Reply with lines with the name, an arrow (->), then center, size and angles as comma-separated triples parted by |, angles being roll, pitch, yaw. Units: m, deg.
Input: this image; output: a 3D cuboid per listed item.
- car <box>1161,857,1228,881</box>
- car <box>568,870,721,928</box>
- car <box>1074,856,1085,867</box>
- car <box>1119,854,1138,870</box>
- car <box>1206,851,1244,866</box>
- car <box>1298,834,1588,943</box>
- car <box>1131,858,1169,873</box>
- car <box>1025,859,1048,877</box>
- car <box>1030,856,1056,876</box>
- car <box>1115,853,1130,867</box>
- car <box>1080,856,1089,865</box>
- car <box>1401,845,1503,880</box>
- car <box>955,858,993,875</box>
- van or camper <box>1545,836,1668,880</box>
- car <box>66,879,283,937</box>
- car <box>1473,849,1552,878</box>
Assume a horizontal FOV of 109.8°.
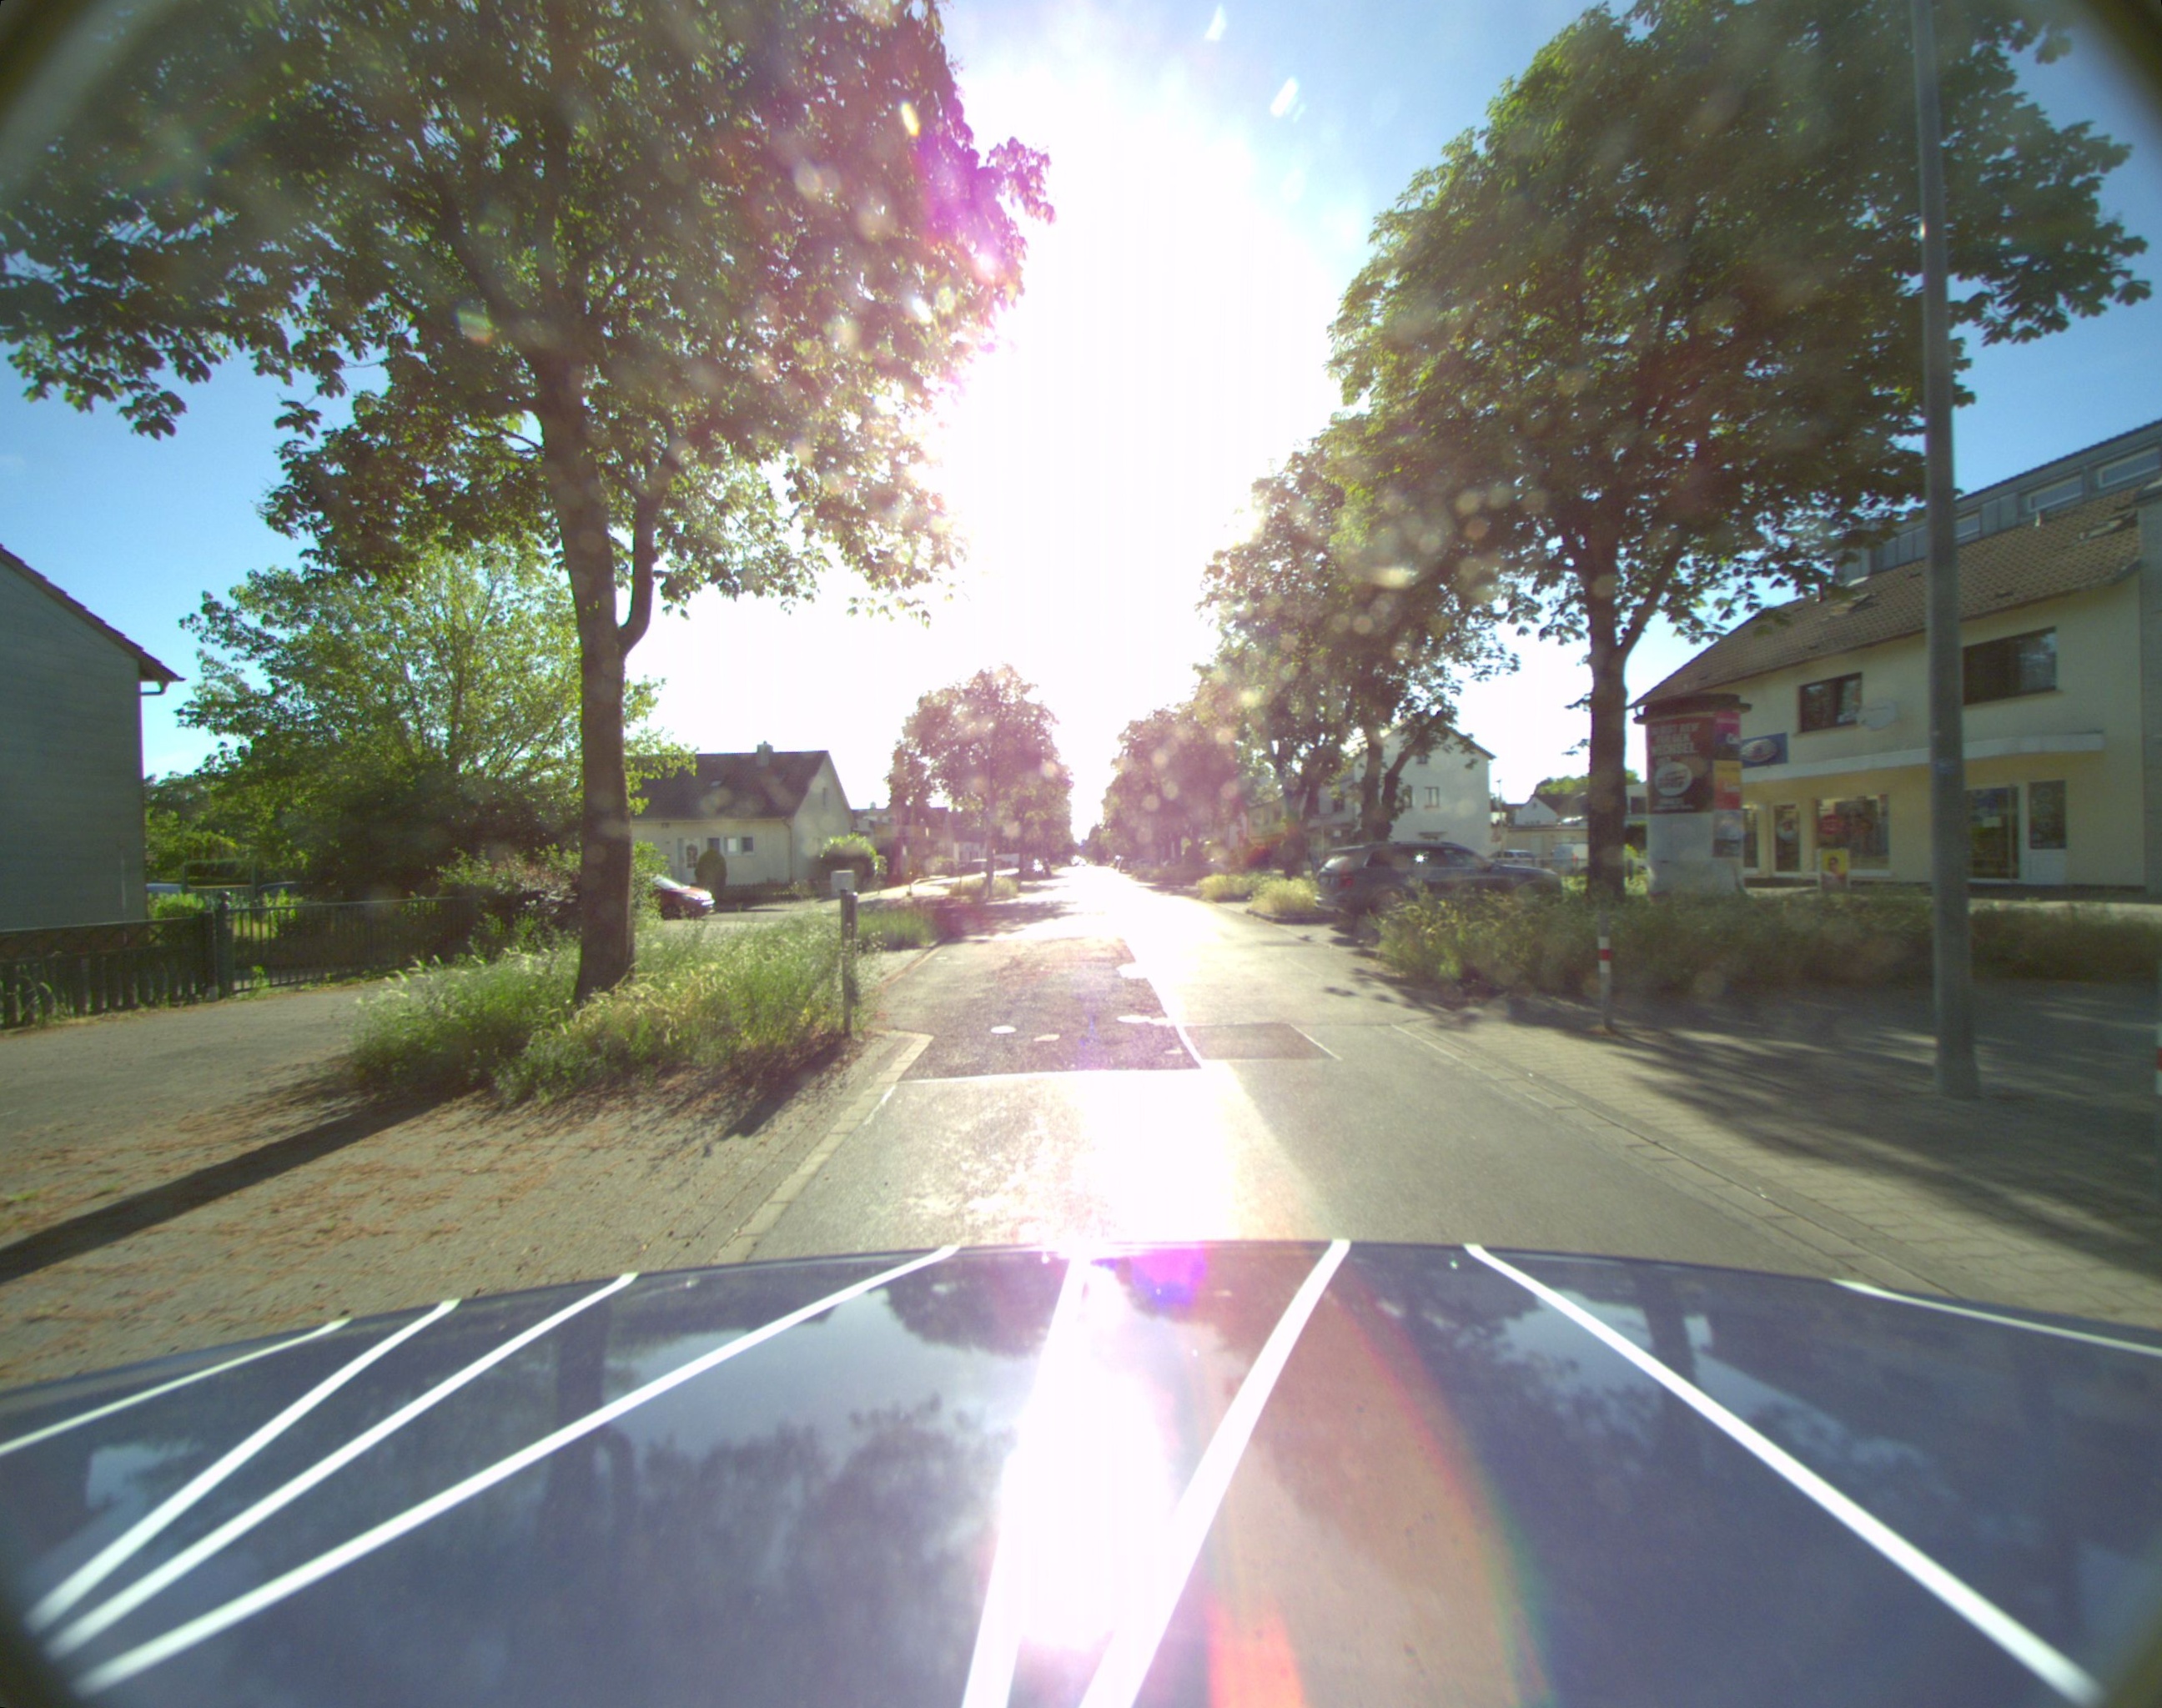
car -> 7.981, 1.044, 53.742 | 4.393, 1.408, 2.000 | -3, 1, -1
car -> -12.901, 1.306, 22.638 | 3.550, 1.501, 1.640 | -2, -1, -4
car -> -0.214, 1.145, 123.379 | 1.539, 1.582, 3.458 | -5, 1, 2
car -> 5.356, 0.904, 85.865 | 1.998, 1.530, 3.695 | -5, 1, 2
car -> 15.305, 0.468, 80.965 | 3.773, 1.556, 1.691 | 0, 1, 3
car -> 7.459, 0.671, 15.976 | 5.075, 1.718, 1.999 | -5, 1, -4
car -> 7.367, 1.185, 80.947 | 3.695, 1.315, 1.624 | -4, 1, -6
car -> -3.697, 1.164, 63.587 | 1.690, 1.414, 3.777 | 0, 1, 1
car -> -3.483, 1.095, 69.911 | 1.941, 1.684, 4.363 | -2, 0, 2
car -> 5.276, 0.764, 97.180 | 1.815, 1.722, 4.056 | -2, 0, 2
car -> 0.741, 1.206, 147.686 | 1.539, 1.582, 3.458 | -5, 1, 2
car -> 17.875, 0.384, 36.703 | 3.999, 1.628, 1.999 | 0, 0, -6
car -> -11.037, 1.270, 78.521 | 3.622, 1.431, 1.695 | -5, 1, -3
van or camper -> 25.746, 0.201, 37.318 | 4.685, 2.002, 1.999 | -1, 0, -2
car -> -27.052, 1.579, 22.784 | 4.309, 1.502, 1.889 | -2, 0, 2
car -> 26.075, 0.518, 46.160 | 1.877, 1.519, 4.665 | -1, 2, -5
